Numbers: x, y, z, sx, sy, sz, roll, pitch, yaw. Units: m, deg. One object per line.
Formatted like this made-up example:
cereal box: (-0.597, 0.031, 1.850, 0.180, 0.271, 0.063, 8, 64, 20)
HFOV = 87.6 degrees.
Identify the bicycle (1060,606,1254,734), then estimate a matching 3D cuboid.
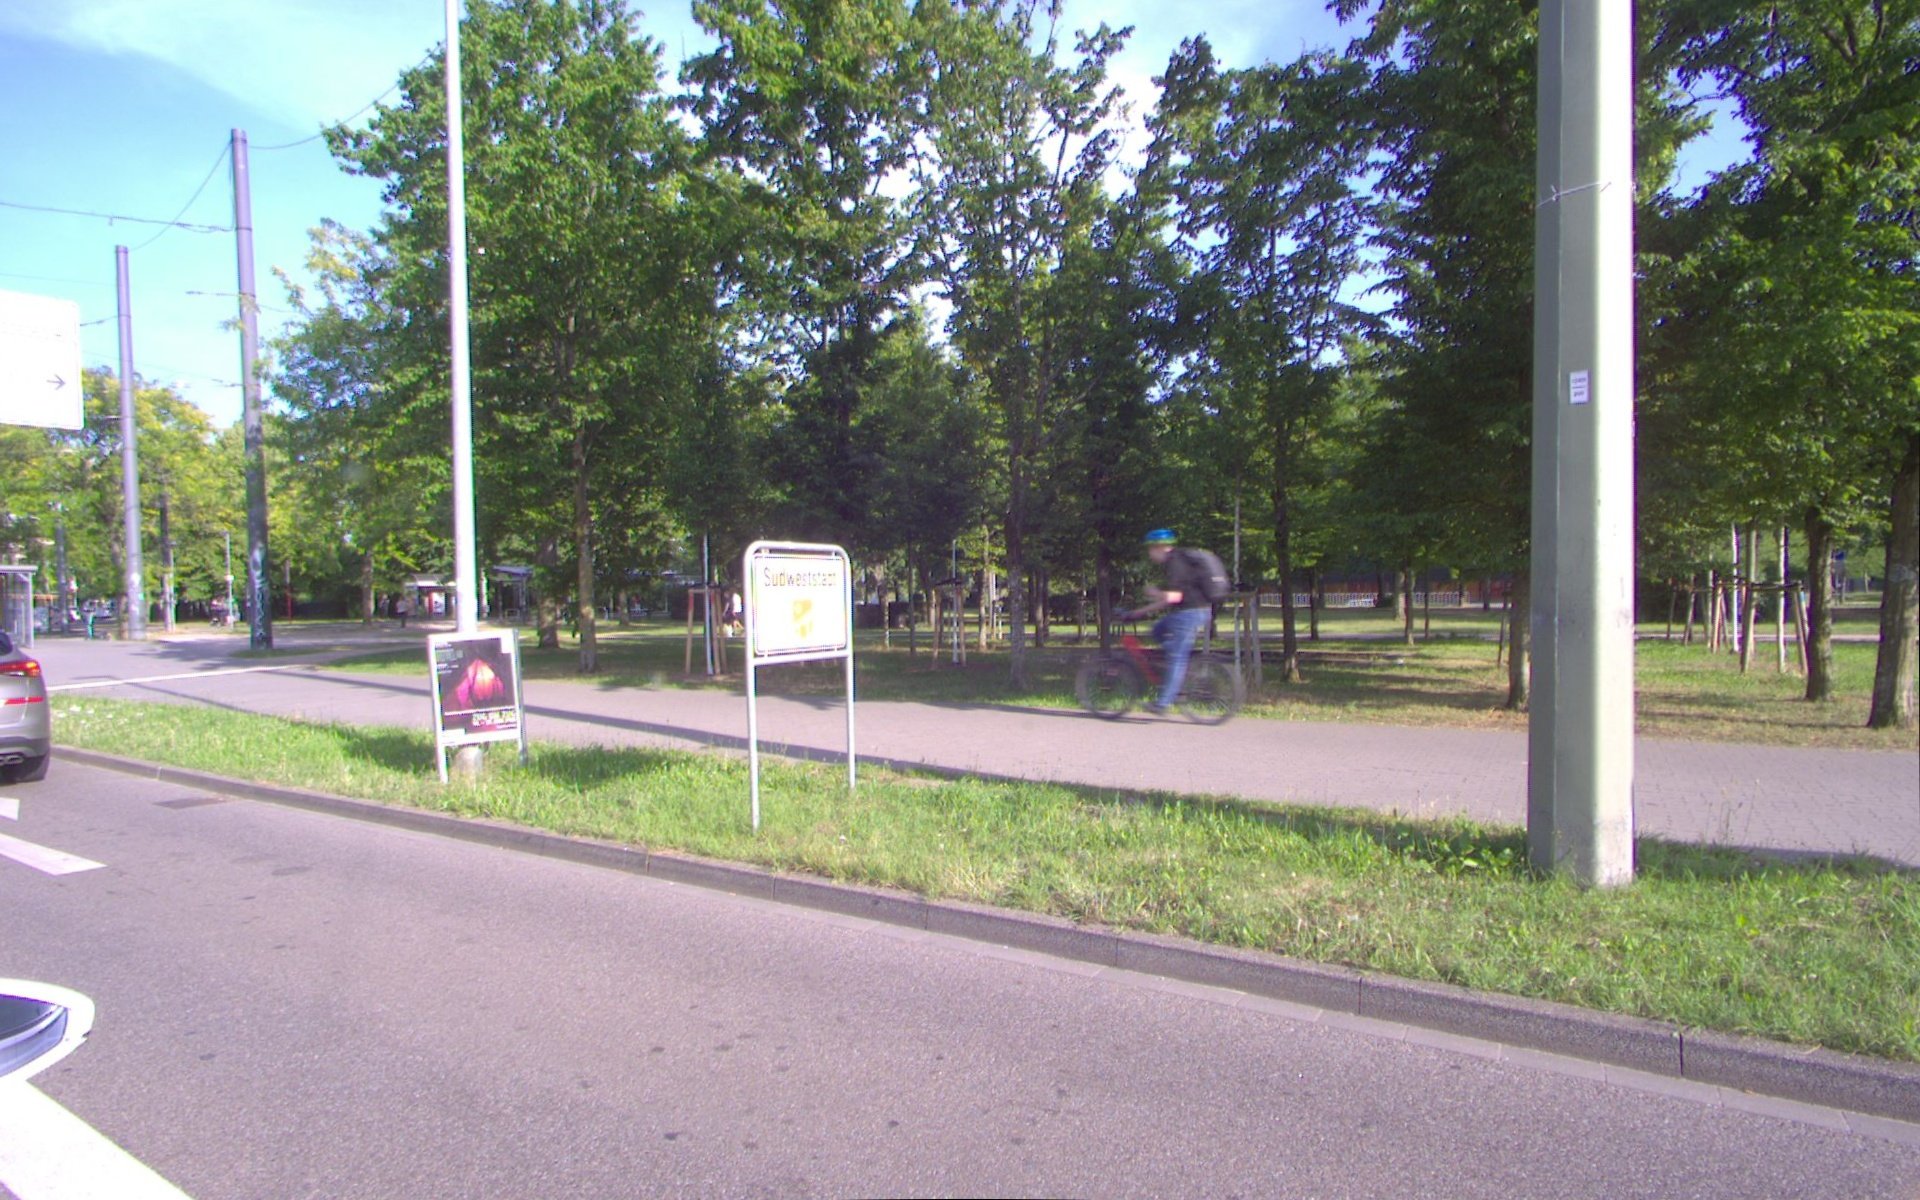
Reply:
bicycle: (1.875, 0.626, 9.632, 1.711, 1.103, 0.638, 0, 3, 36)

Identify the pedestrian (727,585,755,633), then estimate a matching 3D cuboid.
pedestrian: (-8.741, 0.374, 39.987, 0.868, 1.922, 0.670, 0, -1, 33)

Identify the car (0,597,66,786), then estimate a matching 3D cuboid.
car: (-10.061, 0.789, 9.189, 3.760, 1.621, 1.832, 0, -1, 32)

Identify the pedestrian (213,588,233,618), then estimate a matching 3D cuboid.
pedestrian: (-40.908, 0.173, 55.564, 0.681, 1.688, 0.639, 0, 1, 32)

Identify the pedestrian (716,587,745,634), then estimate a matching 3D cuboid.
pedestrian: (-8.977, 0.421, 39.225, 0.867, 1.800, 0.670, 0, -1, 33)

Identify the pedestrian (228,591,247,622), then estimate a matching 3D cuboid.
pedestrian: (-39.794, 0.354, 55.162, 0.681, 1.688, 0.639, 0, 1, 32)

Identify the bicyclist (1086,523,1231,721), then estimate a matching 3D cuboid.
bicyclist: (1.899, 0.184, 9.574, 1.125, 1.770, 0.717, 0, 4, 36)

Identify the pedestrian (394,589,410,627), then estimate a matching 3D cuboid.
pedestrian: (-27.785, 0.396, 49.864, 0.595, 1.891, 0.461, 0, -1, -14)

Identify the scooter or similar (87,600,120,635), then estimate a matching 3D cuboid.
scooter or similar: (-31.431, 0.639, 36.739, 1.115, 1.248, 0.351, 0, 1, 18)
